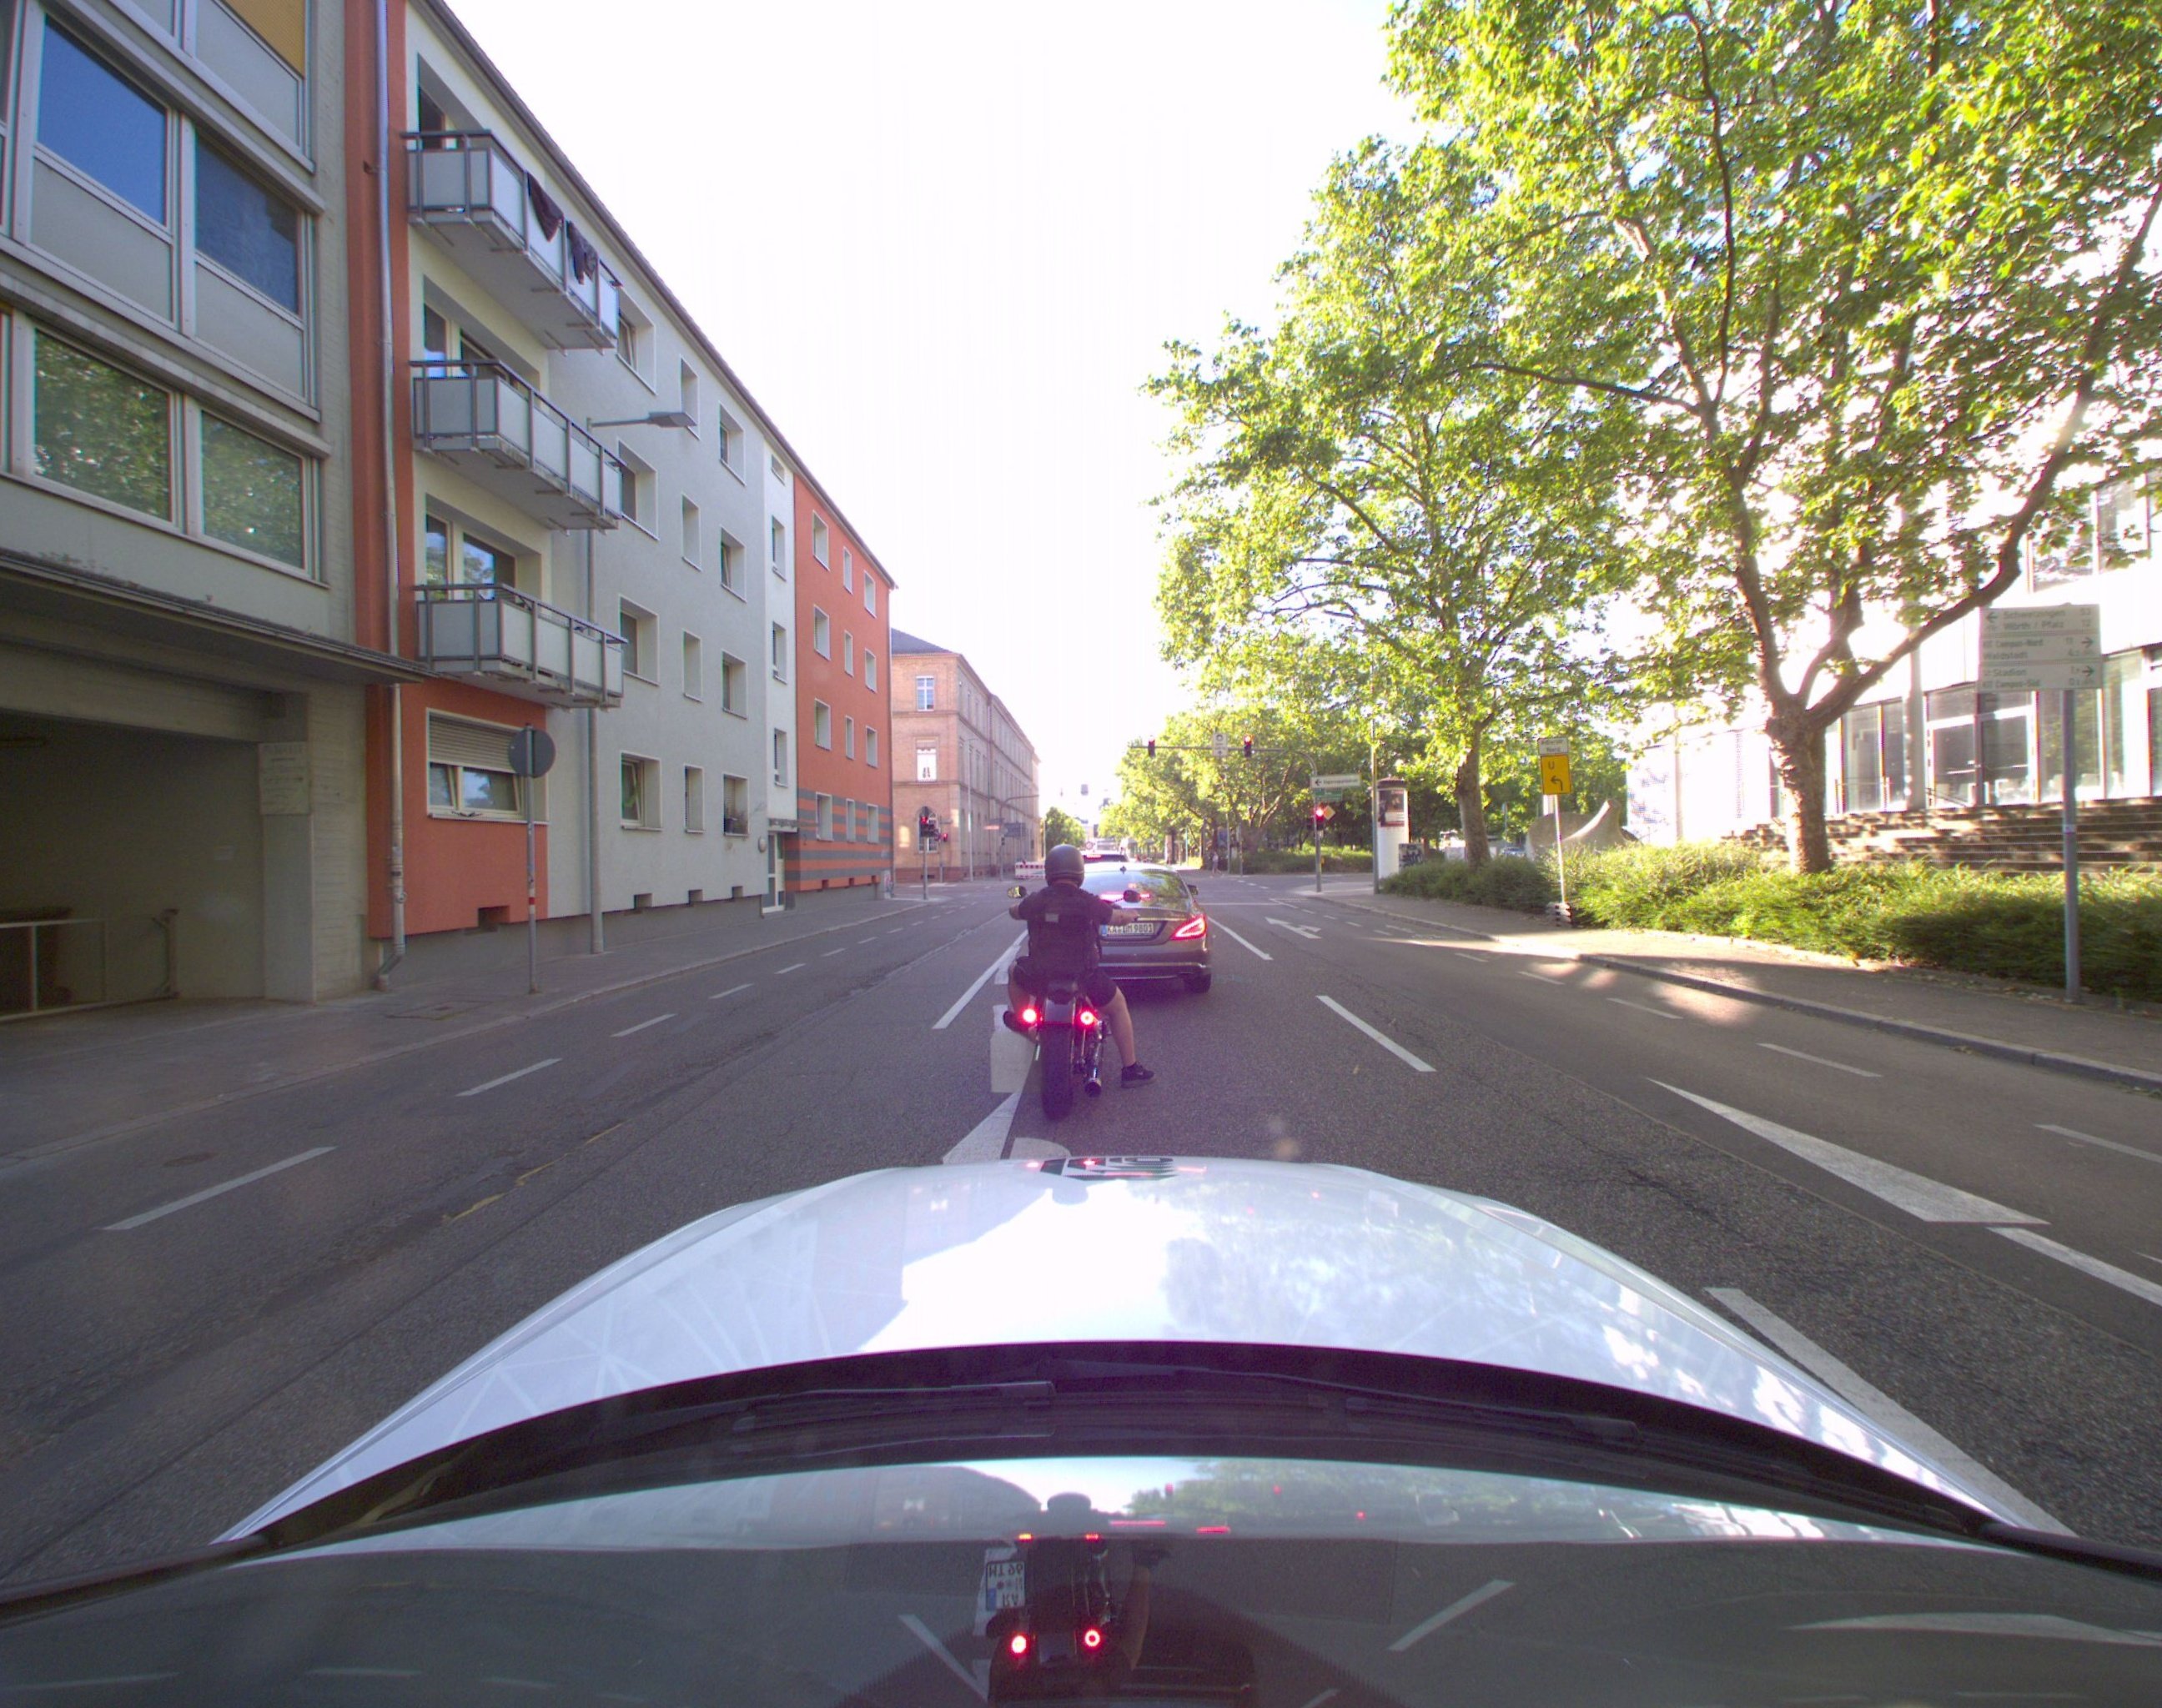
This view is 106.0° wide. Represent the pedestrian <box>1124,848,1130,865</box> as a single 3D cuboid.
[{"bbox_3d":[5.708,0.274,100.733,0.761,2.051,0.712,0,-1,1],"label":"pedestrian"}]

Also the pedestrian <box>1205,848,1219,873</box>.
[{"bbox_3d":[10.450,0.521,65.029,0.753,1.910,0.918,0,-1,-26],"label":"pedestrian"}]

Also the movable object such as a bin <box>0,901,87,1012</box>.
[{"bbox_3d":[-11.255,1.064,8.631,0.626,1.100,0.659,0,-1,4],"label":"movable object such as a bin"}]

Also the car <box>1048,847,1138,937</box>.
[{"bbox_3d":[0.278,0.692,16.856,1.615,1.594,4.002,-1,0,2],"label":"car"}]

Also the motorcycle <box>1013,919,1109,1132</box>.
[{"bbox_3d":[-0.076,1.003,5.405,0.511,1.002,2.014,0,-1,2],"label":"motorcycle"}]

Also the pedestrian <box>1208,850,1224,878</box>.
[{"bbox_3d":[8.819,0.635,53.281,0.996,1.826,1.078,0,-1,8],"label":"pedestrian"}]

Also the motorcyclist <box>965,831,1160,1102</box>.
[{"bbox_3d":[-0.089,0.671,5.463,1.145,1.598,1.288,0,-1,1],"label":"motorcyclist"}]

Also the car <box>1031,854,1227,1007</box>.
[{"bbox_3d":[0.519,0.738,9.728,1.875,1.449,3.821,0,0,2],"label":"car"}]
